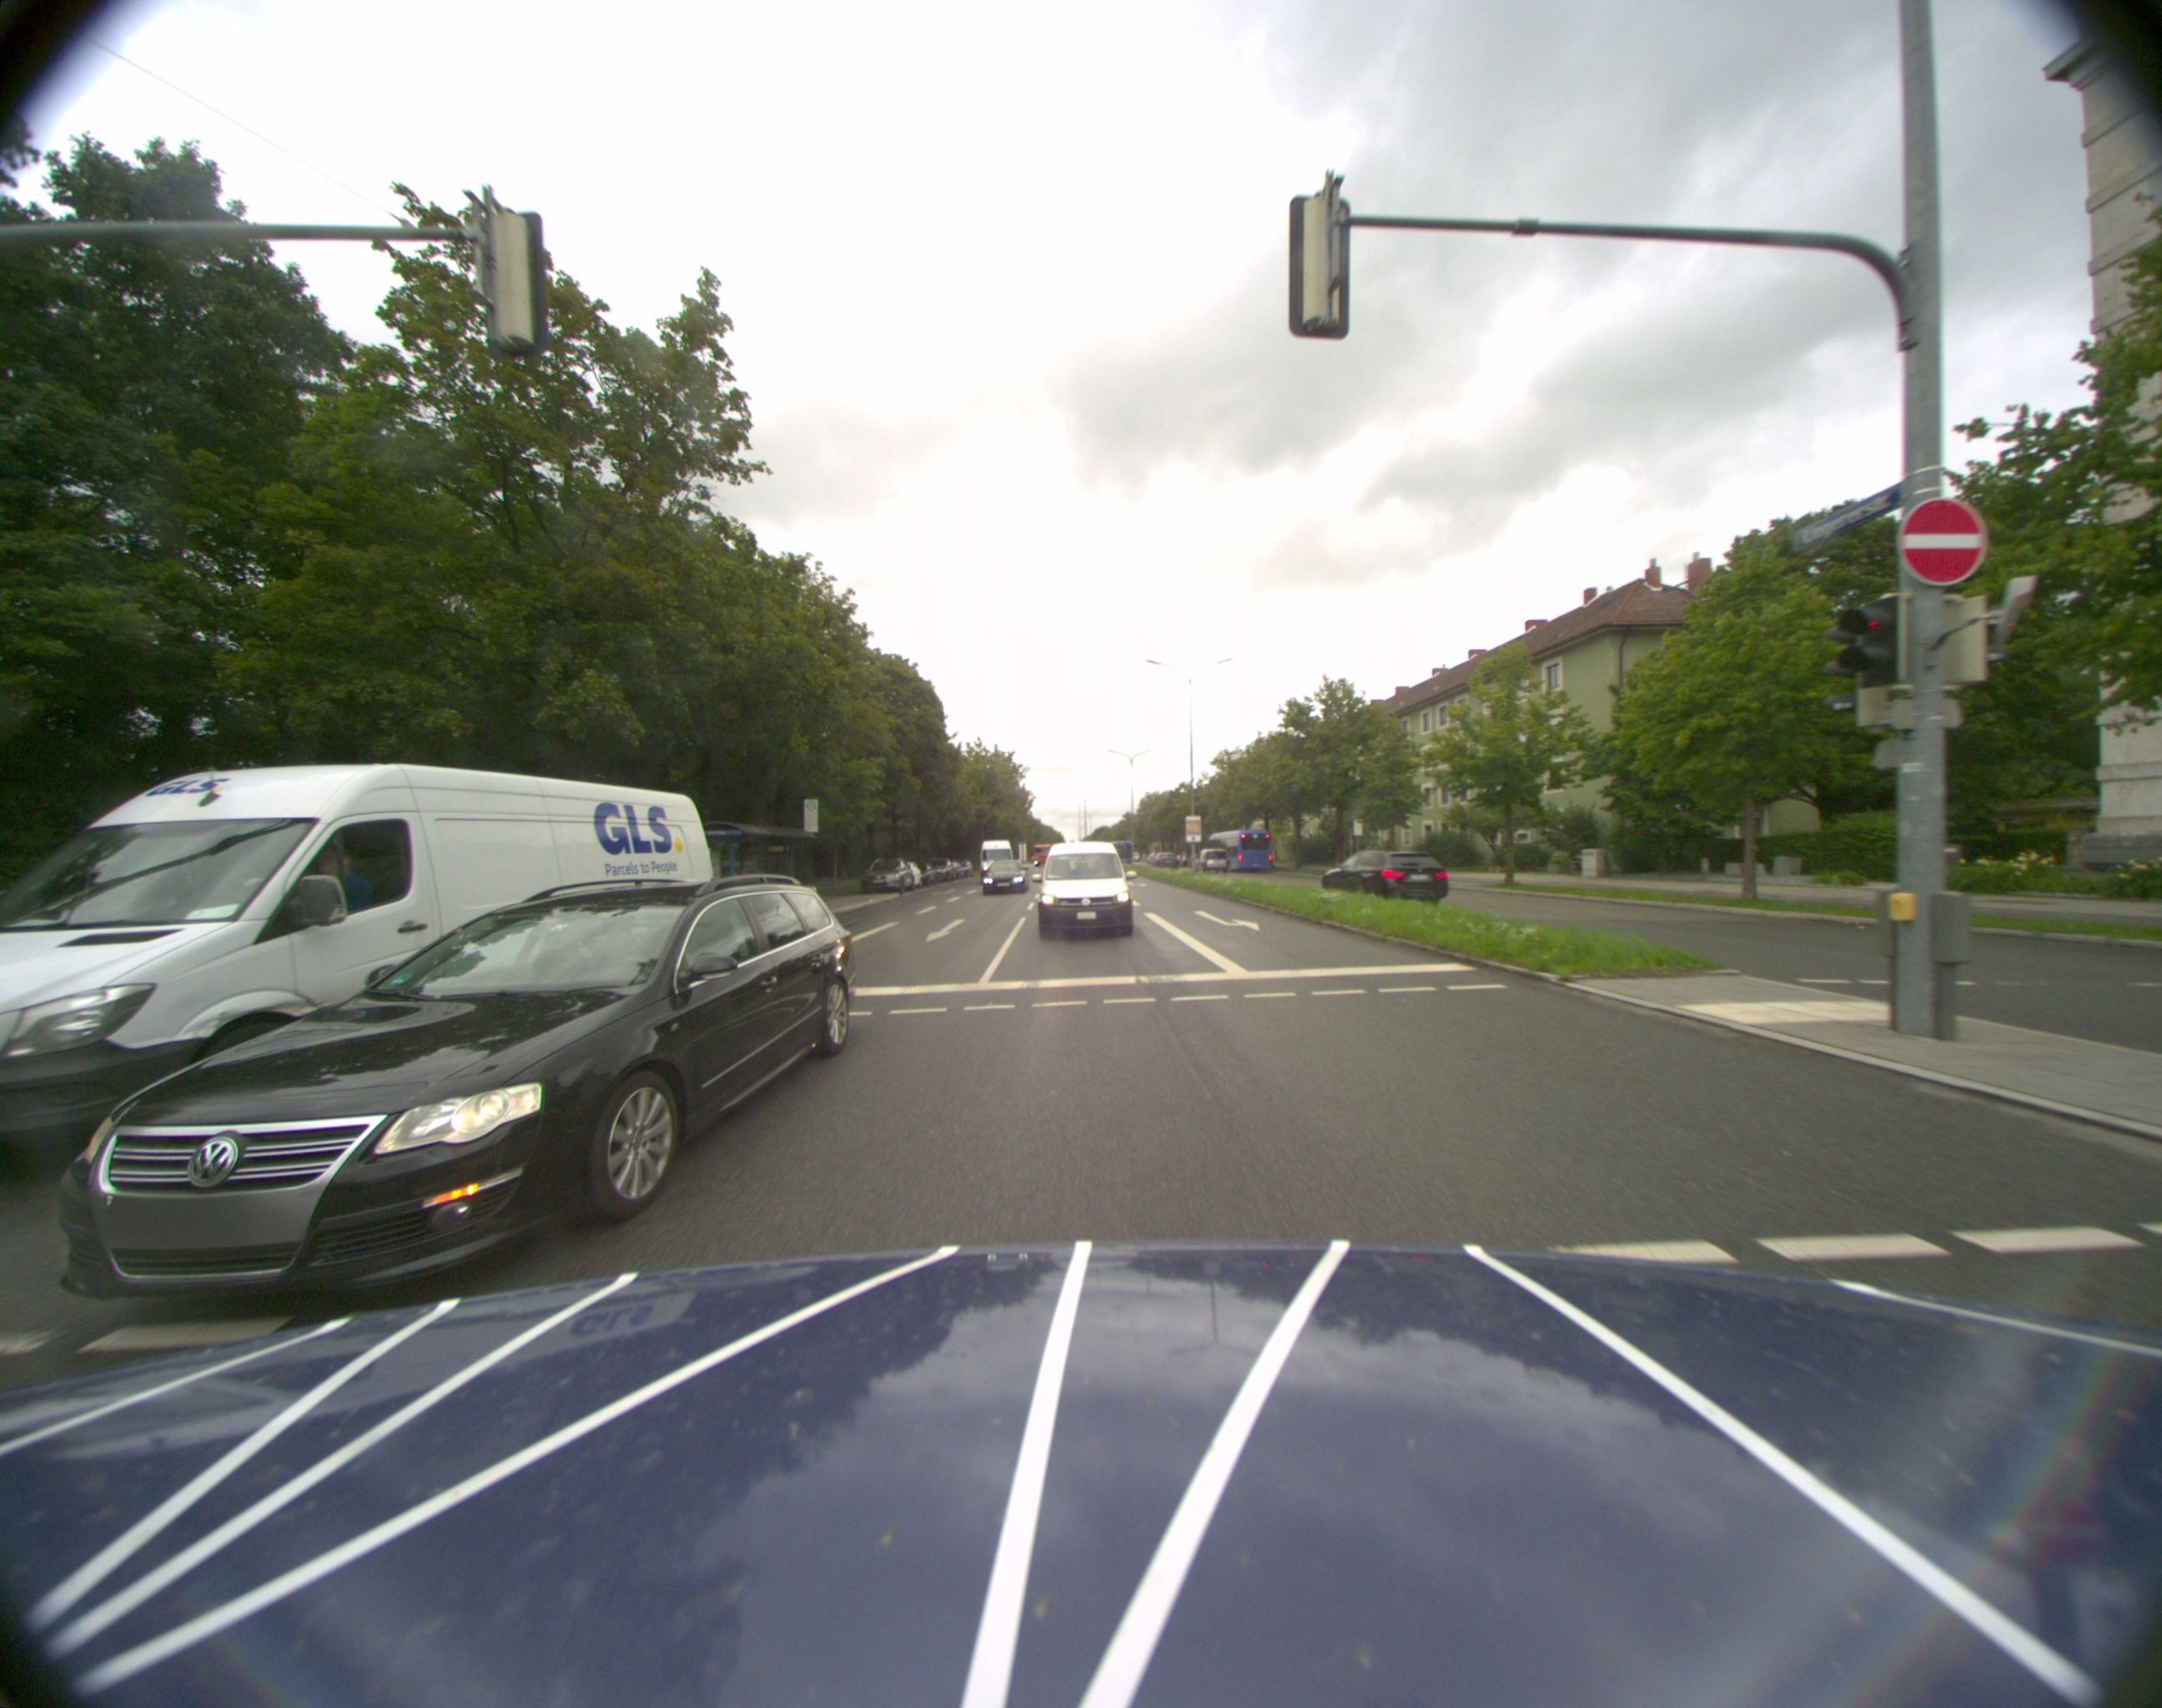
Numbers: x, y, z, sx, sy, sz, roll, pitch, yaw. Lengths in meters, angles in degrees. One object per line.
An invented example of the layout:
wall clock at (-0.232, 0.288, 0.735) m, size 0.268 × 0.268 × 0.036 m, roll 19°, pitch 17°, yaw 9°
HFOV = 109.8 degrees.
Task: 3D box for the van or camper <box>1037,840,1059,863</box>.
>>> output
van or camper at (-4.707, -0.395, 110.957) m, size 2.780 × 3.219 × 7.074 m, roll -1°, pitch 0°, yaw 0°

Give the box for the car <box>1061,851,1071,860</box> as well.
car at (-3.326, 0.395, 170.409) m, size 1.998 × 2.002 × 4.000 m, roll -1°, pitch 0°, yaw 0°

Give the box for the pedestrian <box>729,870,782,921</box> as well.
pedestrian at (-9.421, 1.192, 22.017) m, size 1.157 × 1.375 × 0.611 m, roll -4°, pitch 1°, yaw -2°

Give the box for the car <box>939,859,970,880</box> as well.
car at (-9.873, 1.181, 59.524) m, size 1.752 × 1.458 × 4.037 m, roll -1°, pitch 0°, yaw -1°

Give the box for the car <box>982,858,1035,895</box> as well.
car at (-3.161, 0.937, 34.025) m, size 1.819 × 1.421 × 4.671 m, roll -3°, pitch 0°, yaw 1°

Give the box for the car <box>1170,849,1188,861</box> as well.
car at (12.963, 0.072, 100.356) m, size 1.857 × 1.454 × 3.909 m, roll -3°, pitch 0°, yaw 0°

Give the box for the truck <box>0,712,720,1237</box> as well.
truck at (-6.243, 0.606, 7.340) m, size 1.999 × 2.588 × 7.226 m, roll -2°, pitch 0°, yaw 0°

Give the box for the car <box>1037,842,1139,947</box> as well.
car at (0.077, 0.699, 15.713) m, size 1.752 × 1.809 × 4.670 m, roll -1°, pitch 0°, yaw -1°

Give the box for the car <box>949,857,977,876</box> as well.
car at (-10.003, 1.030, 64.454) m, size 1.752 × 1.458 × 4.254 m, roll -1°, pitch 0°, yaw -1°

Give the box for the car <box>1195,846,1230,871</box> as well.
car at (9.996, 0.314, 58.151) m, size 1.784 × 1.801 × 4.429 m, roll 1°, pitch 0°, yaw -2°

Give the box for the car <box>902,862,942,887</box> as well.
car at (-10.046, 1.269, 48.275) m, size 1.752 × 1.420 × 4.254 m, roll -1°, pitch 0°, yaw -1°

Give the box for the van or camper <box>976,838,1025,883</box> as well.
van or camper at (-4.889, 0.386, 47.317) m, size 2.183 × 2.546 × 7.074 m, roll -1°, pitch 0°, yaw 0°

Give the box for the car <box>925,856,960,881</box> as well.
car at (-9.782, 0.993, 54.085) m, size 1.752 × 1.640 × 4.254 m, roll -1°, pitch 0°, yaw -1°

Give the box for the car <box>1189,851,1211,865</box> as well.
car at (13.216, 0.455, 84.589) m, size 1.857 × 1.454 × 3.909 m, roll -3°, pitch 0°, yaw 0°

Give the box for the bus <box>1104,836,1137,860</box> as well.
bus at (5.723, -0.857, 111.477) m, size 2.754 × 3.324 × 12.265 m, roll 0°, pitch 0°, yaw -7°

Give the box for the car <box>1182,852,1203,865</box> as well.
car at (13.143, 0.539, 89.629) m, size 1.857 × 1.454 × 3.909 m, roll -3°, pitch 0°, yaw 0°

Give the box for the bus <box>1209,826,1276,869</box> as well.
bus at (13.289, -0.516, 63.759) m, size 2.752 × 3.324 × 12.046 m, roll 0°, pitch 0°, yaw -1°

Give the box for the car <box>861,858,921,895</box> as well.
car at (-9.292, 1.042, 37.508) m, size 1.884 × 1.640 × 4.396 m, roll -1°, pitch 0°, yaw -1°

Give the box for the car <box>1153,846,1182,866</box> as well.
car at (7.134, 0.178, 63.054) m, size 1.702 × 1.560 × 4.290 m, roll -1°, pitch 0°, yaw -2°

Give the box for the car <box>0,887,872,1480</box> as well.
car at (-2.759, 1.079, 4.569) m, size 1.752 × 1.466 × 4.670 m, roll -2°, pitch 0°, yaw -1°

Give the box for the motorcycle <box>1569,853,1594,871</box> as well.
motorcycle at (25.216, 0.382, 38.317) m, size 0.434 × 0.877 × 1.234 m, roll -1°, pitch 0°, yaw -1°

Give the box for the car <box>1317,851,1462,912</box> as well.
car at (8.269, 0.665, 20.963) m, size 1.931 × 1.453 × 4.897 m, roll 1°, pitch 0°, yaw -1°

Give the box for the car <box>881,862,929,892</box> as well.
car at (-9.837, 1.258, 42.741) m, size 1.752 × 1.515 × 4.396 m, roll -1°, pitch 0°, yaw -1°
